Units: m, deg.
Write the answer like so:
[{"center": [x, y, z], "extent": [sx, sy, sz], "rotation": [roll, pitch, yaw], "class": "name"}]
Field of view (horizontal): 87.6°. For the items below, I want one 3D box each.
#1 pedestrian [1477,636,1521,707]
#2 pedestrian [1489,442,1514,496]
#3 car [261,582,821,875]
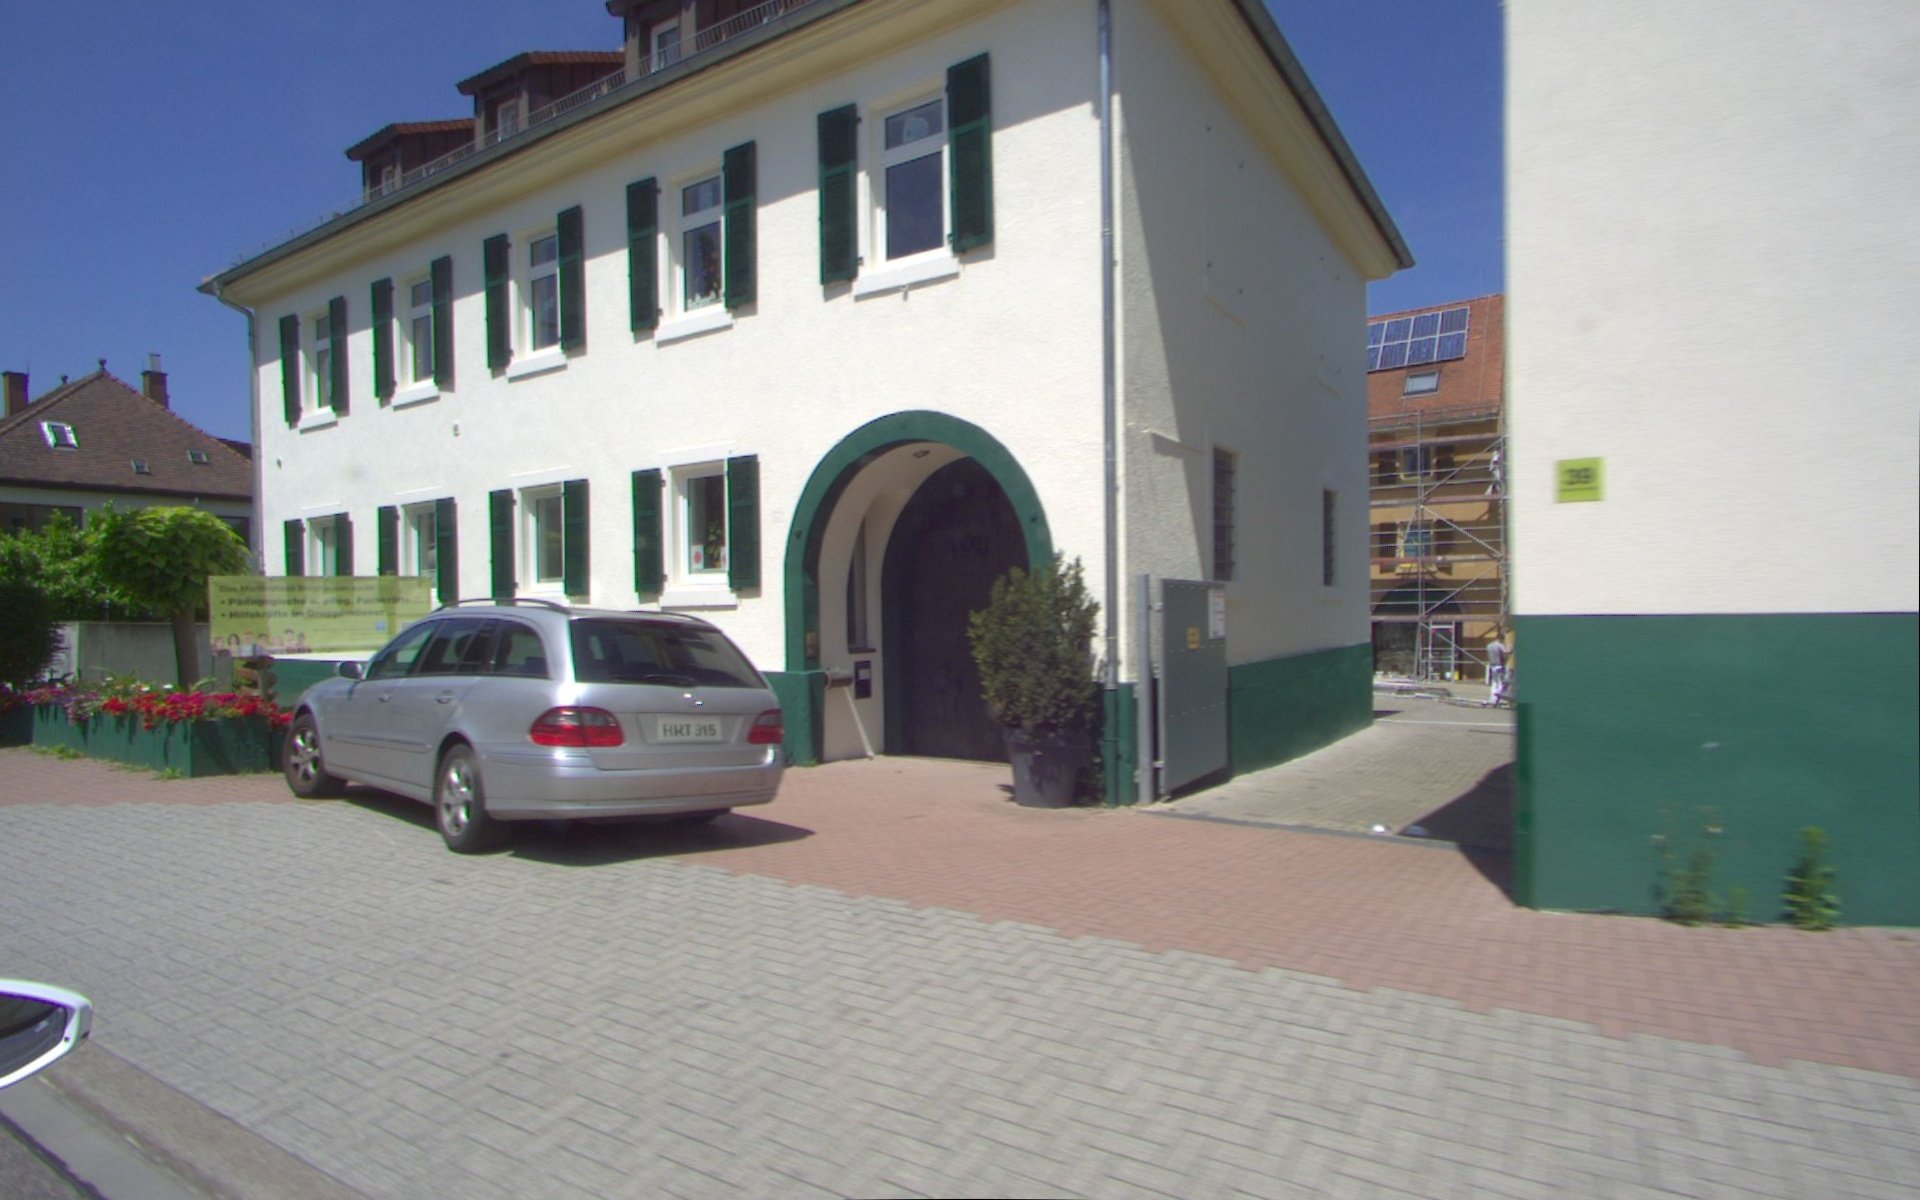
[{"center": [13.268, 1.750, 24.654], "extent": [0.705, 1.721, 0.656], "rotation": [0, -1, -8], "class": "pedestrian"}, {"center": [18.655, -4.492, 34.515], "extent": [0.708, 1.721, 0.654], "rotation": [0, -1, 27], "class": "pedestrian"}, {"center": [-3.325, 0.764, 7.365], "extent": [4.829, 1.480, 1.808], "rotation": [-2, -5, 41], "class": "car"}]
